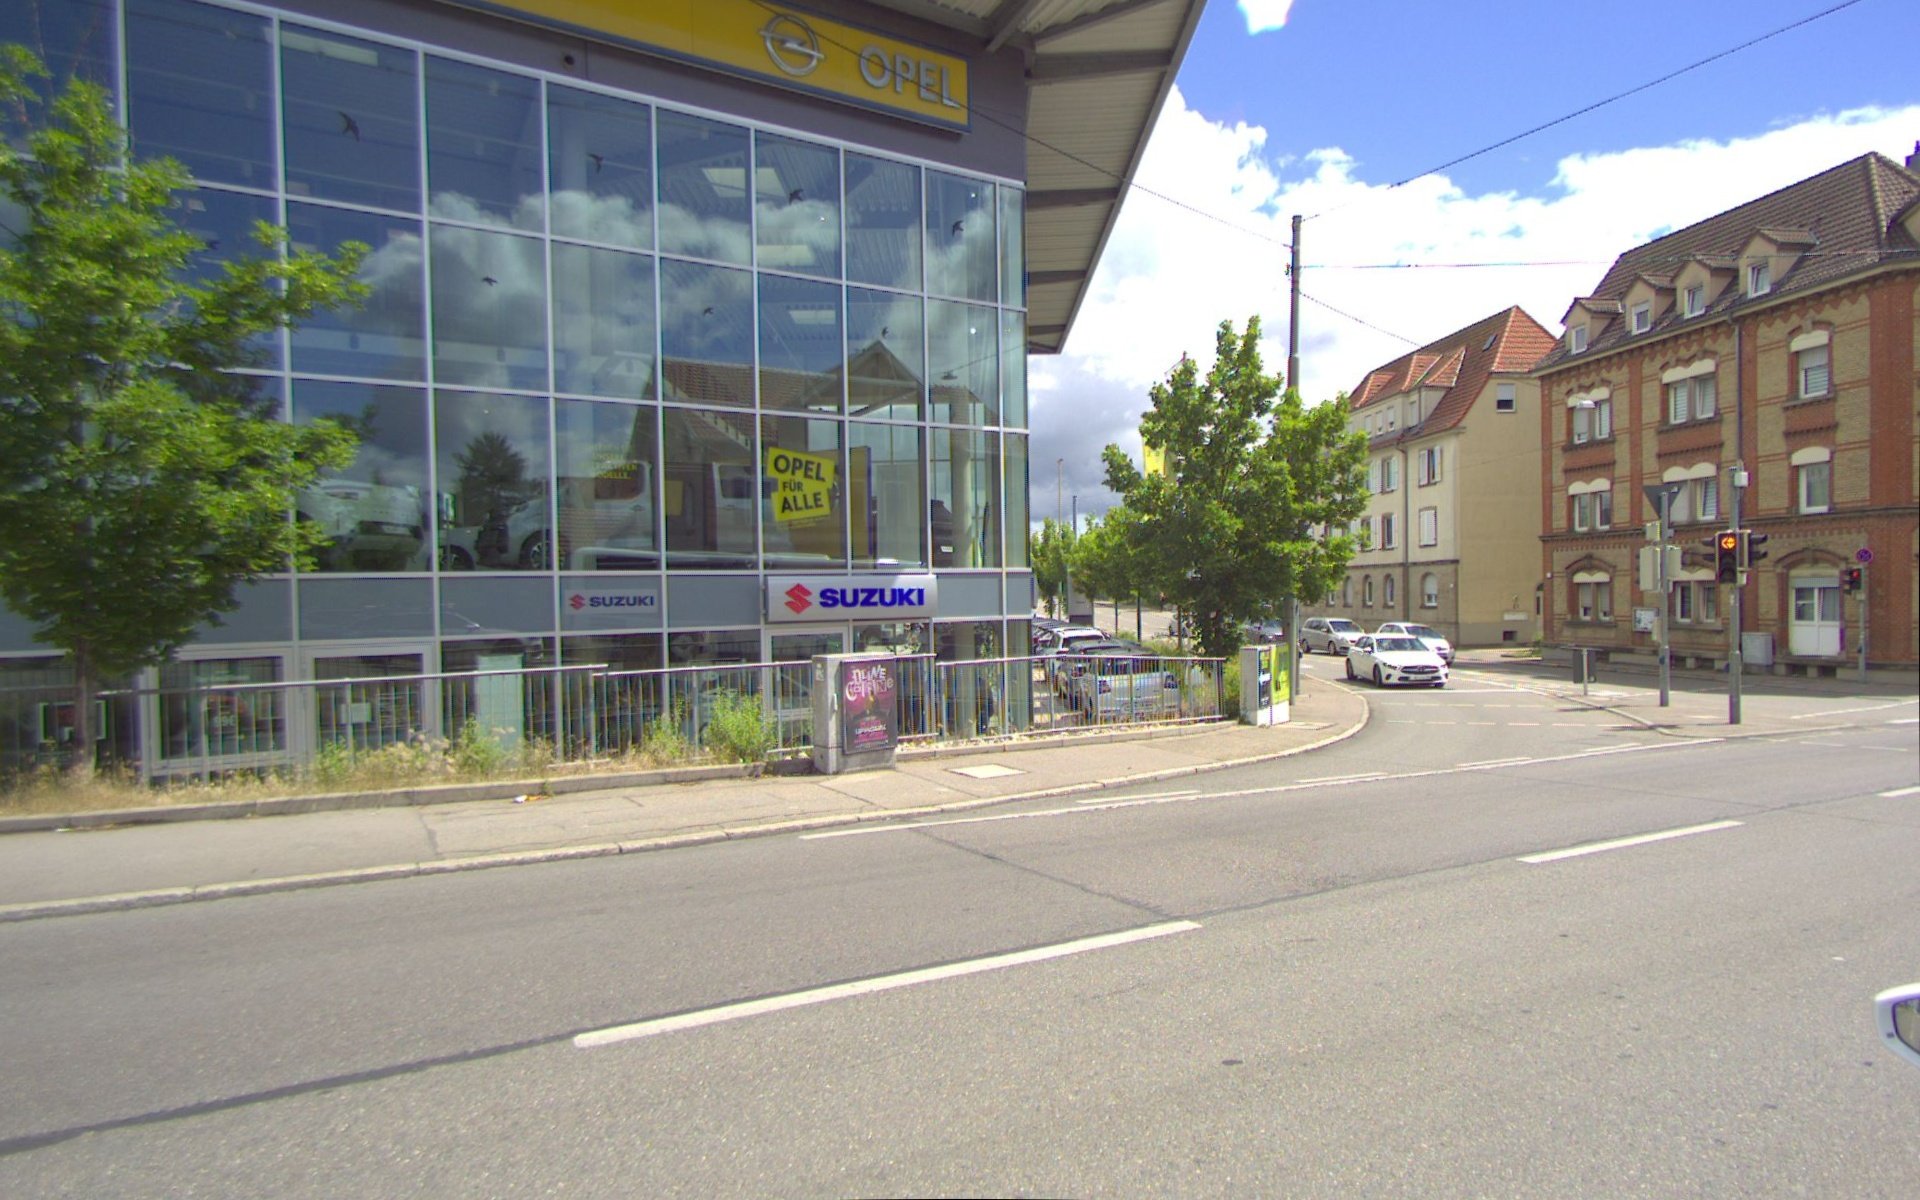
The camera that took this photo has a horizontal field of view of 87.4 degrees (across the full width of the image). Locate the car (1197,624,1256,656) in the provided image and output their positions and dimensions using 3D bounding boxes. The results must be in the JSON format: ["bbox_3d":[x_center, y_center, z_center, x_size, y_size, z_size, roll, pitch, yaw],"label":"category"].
[{"bbox_3d":[14.828,2.200,56.175,1.961,1.607,4.345,1,0,-2],"label":"car"}]

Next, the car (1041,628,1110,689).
[{"bbox_3d":[3.279,1.637,29.081,1.487,1.596,3.414,1,-1,-2],"label":"car"}]

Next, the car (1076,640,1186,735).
[{"bbox_3d":[3.395,1.692,20.539,1.720,1.596,3.687,2,-1,2],"label":"car"}]

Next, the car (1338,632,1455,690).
[{"bbox_3d":[12.368,1.688,28.763,1.825,1.466,4.394,1,-1,6],"label":"car"}]

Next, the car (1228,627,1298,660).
[{"bbox_3d":[15.331,2.188,51.008,1.963,1.539,3.996,1,-1,-7],"label":"car"}]

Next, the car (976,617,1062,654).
[{"bbox_3d":[2.646,1.588,45.856,1.974,1.599,4.476,1,-1,-26],"label":"car"}]

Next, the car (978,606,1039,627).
[{"bbox_3d":[3.219,1.083,67.035,3.921,1.311,1.818,1,-1,0],"label":"car"}]

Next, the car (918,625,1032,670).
[{"bbox_3d":[0.569,1.733,37.196,3.919,1.478,1.605,1,-1,15],"label":"car"}]

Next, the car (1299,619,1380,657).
[{"bbox_3d":[16.734,1.645,44.502,1.715,1.539,3.996,1,-1,-7],"label":"car"}]

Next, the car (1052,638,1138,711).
[{"bbox_3d":[3.230,1.758,24.688,1.487,1.543,3.792,1,-1,-2],"label":"car"}]

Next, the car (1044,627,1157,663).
[{"bbox_3d":[5.165,1.637,37.198,3.921,1.202,1.818,1,-1,0],"label":"car"}]

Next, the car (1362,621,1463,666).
[{"bbox_3d":[17.061,1.612,38.077,1.670,1.517,3.995,1,-1,-7],"label":"car"}]
